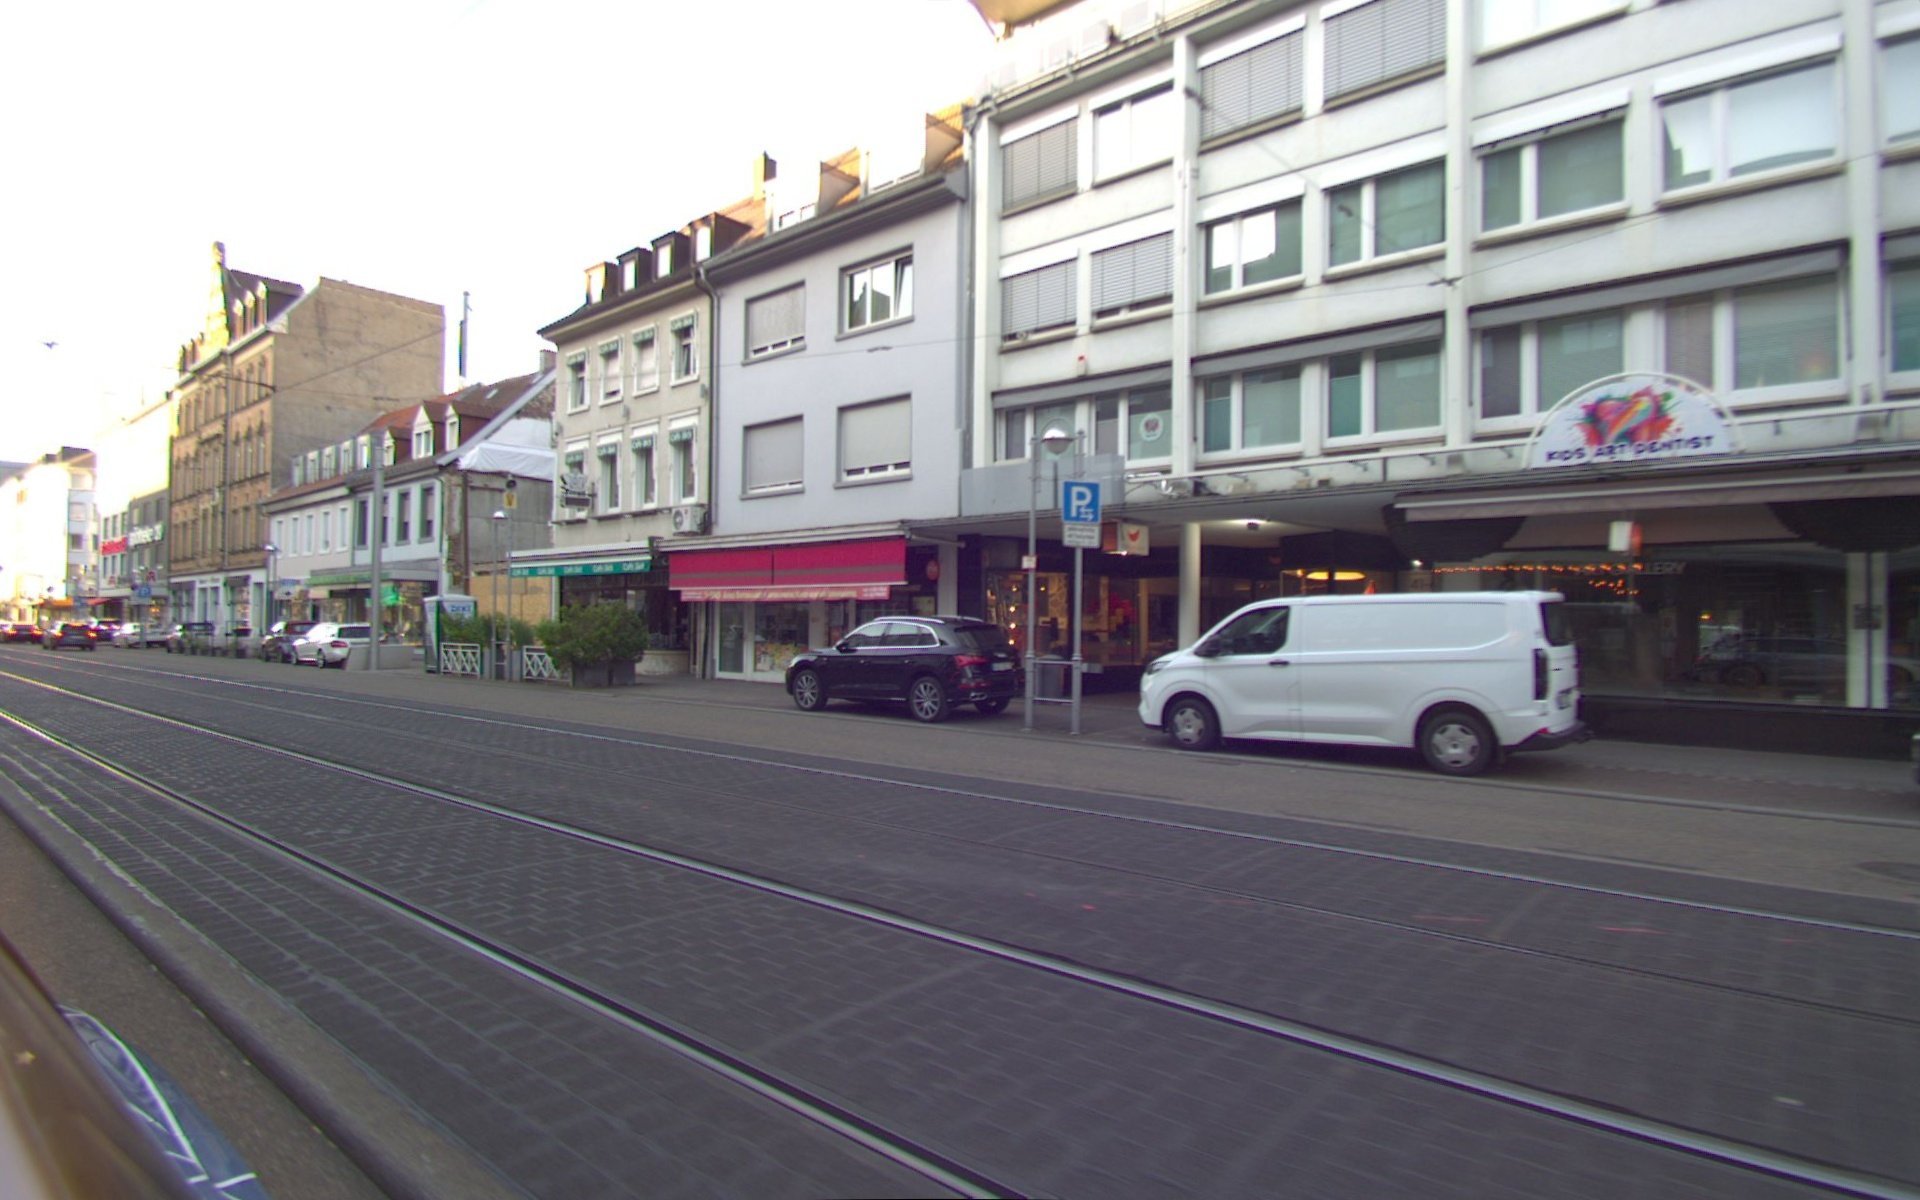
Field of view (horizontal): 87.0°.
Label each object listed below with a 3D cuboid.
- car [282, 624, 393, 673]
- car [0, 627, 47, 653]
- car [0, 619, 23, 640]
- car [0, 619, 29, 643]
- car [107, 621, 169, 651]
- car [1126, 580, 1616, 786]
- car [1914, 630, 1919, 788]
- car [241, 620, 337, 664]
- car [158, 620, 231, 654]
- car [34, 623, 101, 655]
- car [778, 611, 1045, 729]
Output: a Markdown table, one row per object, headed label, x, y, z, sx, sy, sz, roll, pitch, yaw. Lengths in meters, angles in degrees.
| label | x | y | z | sx | sy | sz | roll | pitch | yaw |
| --- | --- | --- | --- | --- | --- | --- | --- | --- | --- |
| car | -21.525 | 1.618 | 34.917 | 4.876 | 1.556 | 1.972 | -1 | -1 | 42 |
| car | -58.997 | 2.471 | 63.515 | 3.998 | 1.564 | 1.973 | -1 | -2 | 41 |
| car | -70.128 | 2.151 | 73.932 | 3.998 | 1.564 | 1.973 | -1 | -2 | 41 |
| car | -64.340 | 2.094 | 68.151 | 3.998 | 1.564 | 1.973 | -1 | -2 | 41 |
| car | -45.855 | 1.990 | 56.437 | 4.204 | 1.564 | 1.973 | -1 | -2 | 41 |
| car | 4.738 | 0.870 | 12.236 | 5.158 | 1.992 | 1.935 | -1 | -2 | 40 |
| car | 10.244 | 0.987 | 7.429 | 4.555 | 1.477 | 1.973 | -1 | -1 | 40 |
| car | -25.485 | 1.549 | 38.385 | 4.550 | 1.556 | 1.889 | -1 | -2 | 41 |
| car | -36.753 | 1.775 | 48.562 | 3.998 | 1.564 | 1.973 | -1 | -2 | 41 |
| car | -45.044 | 1.927 | 51.055 | 3.998 | 1.564 | 1.973 | -1 | -2 | 41 |
| car | -0.937 | 1.087 | 17.312 | 4.524 | 1.734 | 1.839 | -1 | 0 | 40 |
